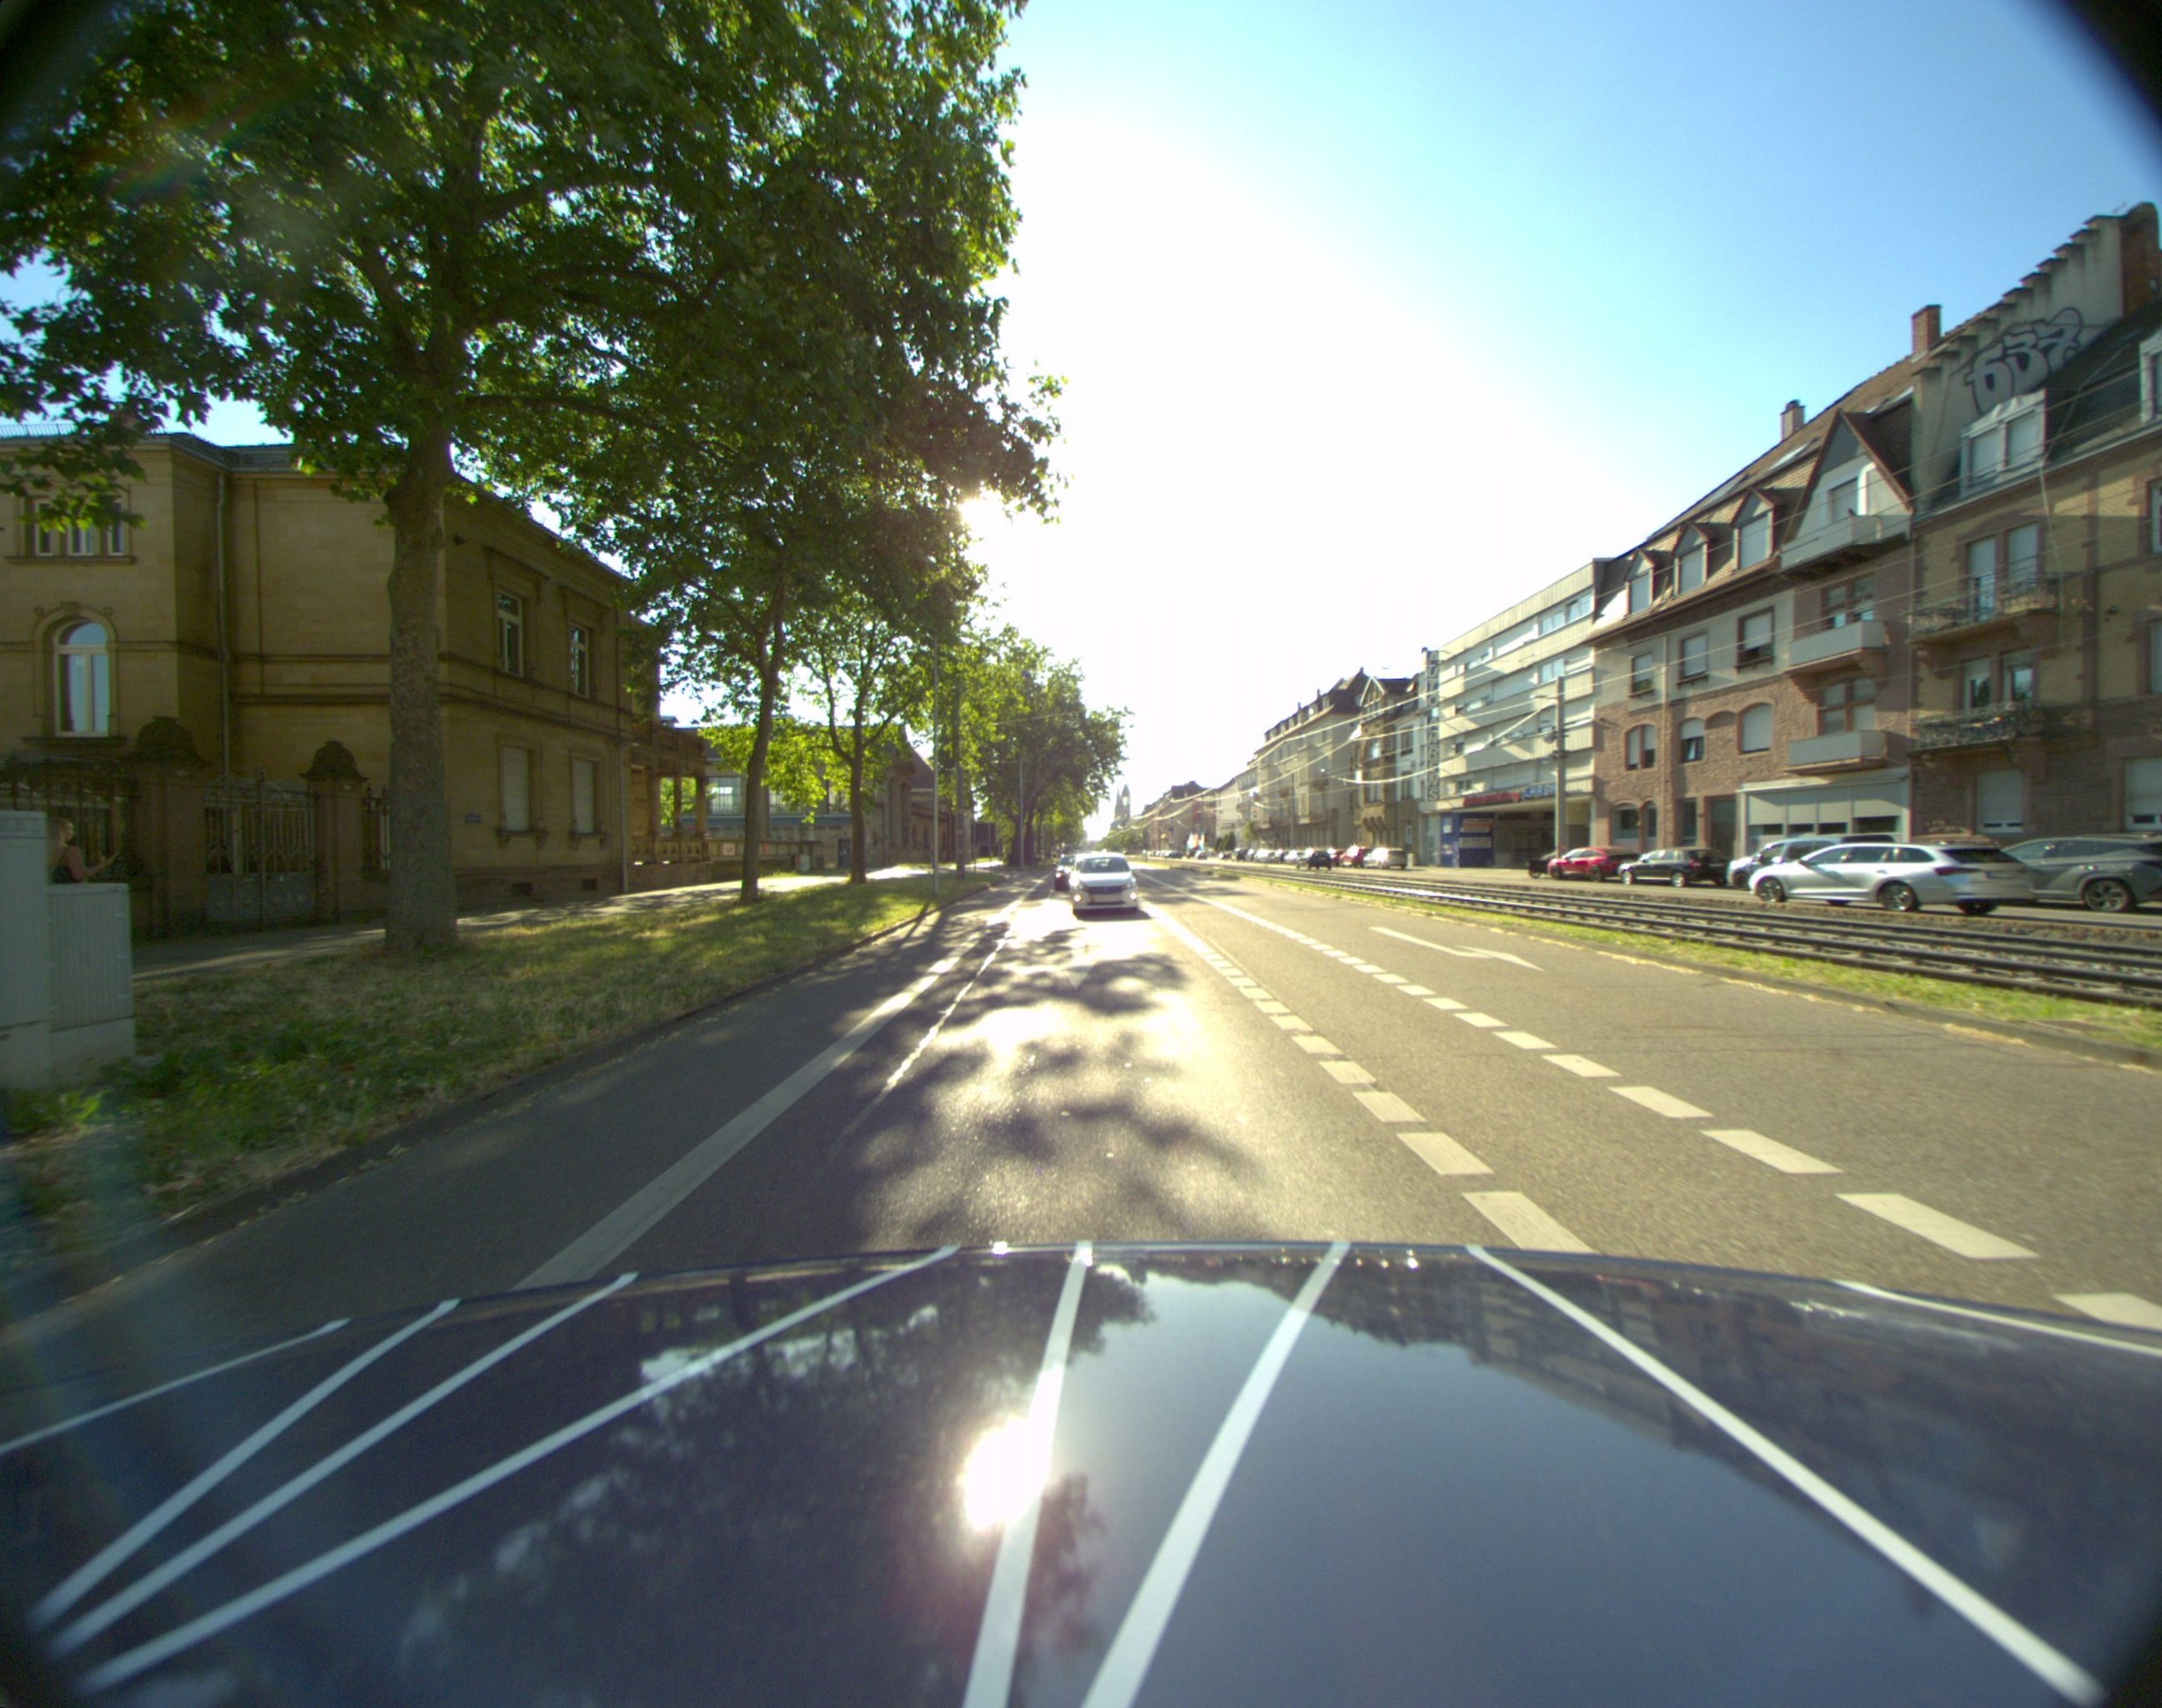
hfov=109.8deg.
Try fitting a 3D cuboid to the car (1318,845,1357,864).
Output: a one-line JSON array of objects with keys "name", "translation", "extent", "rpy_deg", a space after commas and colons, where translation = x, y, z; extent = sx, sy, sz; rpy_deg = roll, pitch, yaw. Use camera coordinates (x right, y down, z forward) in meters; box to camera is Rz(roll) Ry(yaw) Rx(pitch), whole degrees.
[{"name": "car", "translation": [22.398, 0.041, 66.549], "extent": [1.756, 1.487, 3.728], "rpy_deg": [-2, 0, -6]}]

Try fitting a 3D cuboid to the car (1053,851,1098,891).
[{"name": "car", "translation": [-0.198, 0.641, 31.148], "extent": [1.686, 1.462, 4.054], "rpy_deg": [-2, 1, 0]}]

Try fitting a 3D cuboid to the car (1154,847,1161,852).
[{"name": "car", "translation": [21.256, -1.262, 211.021], "extent": [1.624, 1.581, 3.449], "rpy_deg": [-2, 1, -1]}]

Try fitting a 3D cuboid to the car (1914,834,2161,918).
[{"name": "car", "translation": [22.501, 0.419, 17.366], "extent": [1.861, 1.613, 4.502], "rpy_deg": [-3, 0, -1]}]

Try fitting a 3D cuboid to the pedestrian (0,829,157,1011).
[{"name": "pedestrian", "translation": [-10.268, 0.610, 7.588], "extent": [0.771, 1.699, 1.042], "rpy_deg": [0, 1, 1]}]

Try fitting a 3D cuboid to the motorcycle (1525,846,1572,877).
[{"name": "motorcycle", "translation": [22.740, 0.342, 36.994], "extent": [1.860, 1.413, 0.628], "rpy_deg": [-3, 0, 0]}]

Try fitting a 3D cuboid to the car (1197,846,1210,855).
[{"name": "car", "translation": [21.882, -0.572, 136.171], "extent": [1.684, 1.562, 3.388], "rpy_deg": [-2, 1, -1]}]

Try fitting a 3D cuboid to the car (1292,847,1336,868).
[{"name": "car", "translation": [16.979, 0.229, 55.480], "extent": [1.825, 1.448, 4.165], "rpy_deg": [0, 1, -1]}]

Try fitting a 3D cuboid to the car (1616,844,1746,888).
[{"name": "car", "translation": [22.398, 0.417, 28.574], "extent": [1.699, 1.429, 3.927], "rpy_deg": [-3, 0, -1]}]

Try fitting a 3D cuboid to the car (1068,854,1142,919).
[{"name": "car", "translation": [0.564, 0.769, 19.995], "extent": [1.686, 1.462, 4.054], "rpy_deg": [-2, 1, 0]}]

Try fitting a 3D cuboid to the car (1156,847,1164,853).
[{"name": "car", "translation": [21.362, -1.195, 206.131], "extent": [1.624, 1.581, 3.449], "rpy_deg": [-2, 1, -1]}]

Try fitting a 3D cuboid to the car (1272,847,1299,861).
[{"name": "car", "translation": [22.490, -0.032, 83.731], "extent": [1.802, 1.422, 3.822], "rpy_deg": [-2, 1, -2]}]

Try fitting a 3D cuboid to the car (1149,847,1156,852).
[{"name": "car", "translation": [20.593, -1.316, 218.664], "extent": [1.624, 1.581, 3.449], "rpy_deg": [-2, 1, -1]}]

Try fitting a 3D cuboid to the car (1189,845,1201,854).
[{"name": "car", "translation": [21.948, -0.859, 146.351], "extent": [1.727, 1.776, 3.880], "rpy_deg": [-2, 1, -1]}]

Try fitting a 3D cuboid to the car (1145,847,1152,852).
[{"name": "car", "translation": [20.461, -1.300, 229.363], "extent": [1.624, 1.581, 3.449], "rpy_deg": [-2, 1, -1]}]

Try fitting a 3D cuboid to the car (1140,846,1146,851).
[{"name": "car", "translation": [20.957, -1.762, 256.411], "extent": [1.624, 1.581, 3.449], "rpy_deg": [-2, 1, -1]}]

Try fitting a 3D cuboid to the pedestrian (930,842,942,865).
[{"name": "pedestrian", "translation": [-10.432, -0.014, 54.642], "extent": [0.672, 1.653, 0.874], "rpy_deg": [1, 1, 1]}]

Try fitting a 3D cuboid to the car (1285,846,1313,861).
[{"name": "car", "translation": [22.454, -0.028, 78.355], "extent": [1.802, 1.471, 3.822], "rpy_deg": [-2, 1, 0]}]

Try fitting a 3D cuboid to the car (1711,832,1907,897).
[{"name": "car", "translation": [22.391, 0.276, 23.654], "extent": [1.890, 1.748, 4.418], "rpy_deg": [-3, 0, 2]}]

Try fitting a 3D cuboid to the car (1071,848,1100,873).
[{"name": "car", "translation": [0.287, 0.370, 48.824], "extent": [1.834, 1.543, 3.999], "rpy_deg": [0, 1, 0]}]

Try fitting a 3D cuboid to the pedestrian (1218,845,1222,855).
[{"name": "pedestrian", "translation": [25.213, -0.763, 137.874], "extent": [0.725, 1.779, 0.677], "rpy_deg": [0, 1, -1]}]

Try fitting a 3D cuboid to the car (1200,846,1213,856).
[{"name": "car", "translation": [21.575, -0.471, 130.610], "extent": [1.677, 1.622, 3.407], "rpy_deg": [-2, 1, 0]}]

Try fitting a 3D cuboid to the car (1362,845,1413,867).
[{"name": "car", "translation": [22.501, 0.157, 55.913], "extent": [1.861, 1.490, 4.381], "rpy_deg": [-2, 0, -1]}]

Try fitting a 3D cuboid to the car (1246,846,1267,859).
[{"name": "car", "translation": [22.675, -0.206, 98.533], "extent": [1.802, 1.471, 3.822], "rpy_deg": [-2, 1, 0]}]

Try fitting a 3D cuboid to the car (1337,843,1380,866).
[{"name": "car", "translation": [22.395, 0.013, 61.453], "extent": [1.860, 1.677, 4.262], "rpy_deg": [-2, 0, 0]}]

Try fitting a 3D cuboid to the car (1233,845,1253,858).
[{"name": "car", "translation": [22.181, -0.343, 104.269], "extent": [1.876, 1.727, 3.915], "rpy_deg": [-2, 1, 0]}]

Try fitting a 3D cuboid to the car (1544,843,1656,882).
[{"name": "car", "translation": [22.586, 0.330, 33.283], "extent": [1.861, 1.490, 4.209], "rpy_deg": [-3, 0, -1]}]

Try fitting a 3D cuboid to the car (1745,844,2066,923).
[{"name": "car", "translation": [17.204, 0.517, 16.285], "extent": [1.825, 1.448, 4.539], "rpy_deg": [0, 1, -2]}]

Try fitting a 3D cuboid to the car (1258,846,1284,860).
[{"name": "car", "translation": [21.939, -0.126, 87.940], "extent": [1.643, 1.438, 3.537], "rpy_deg": [-2, 1, -8]}]
